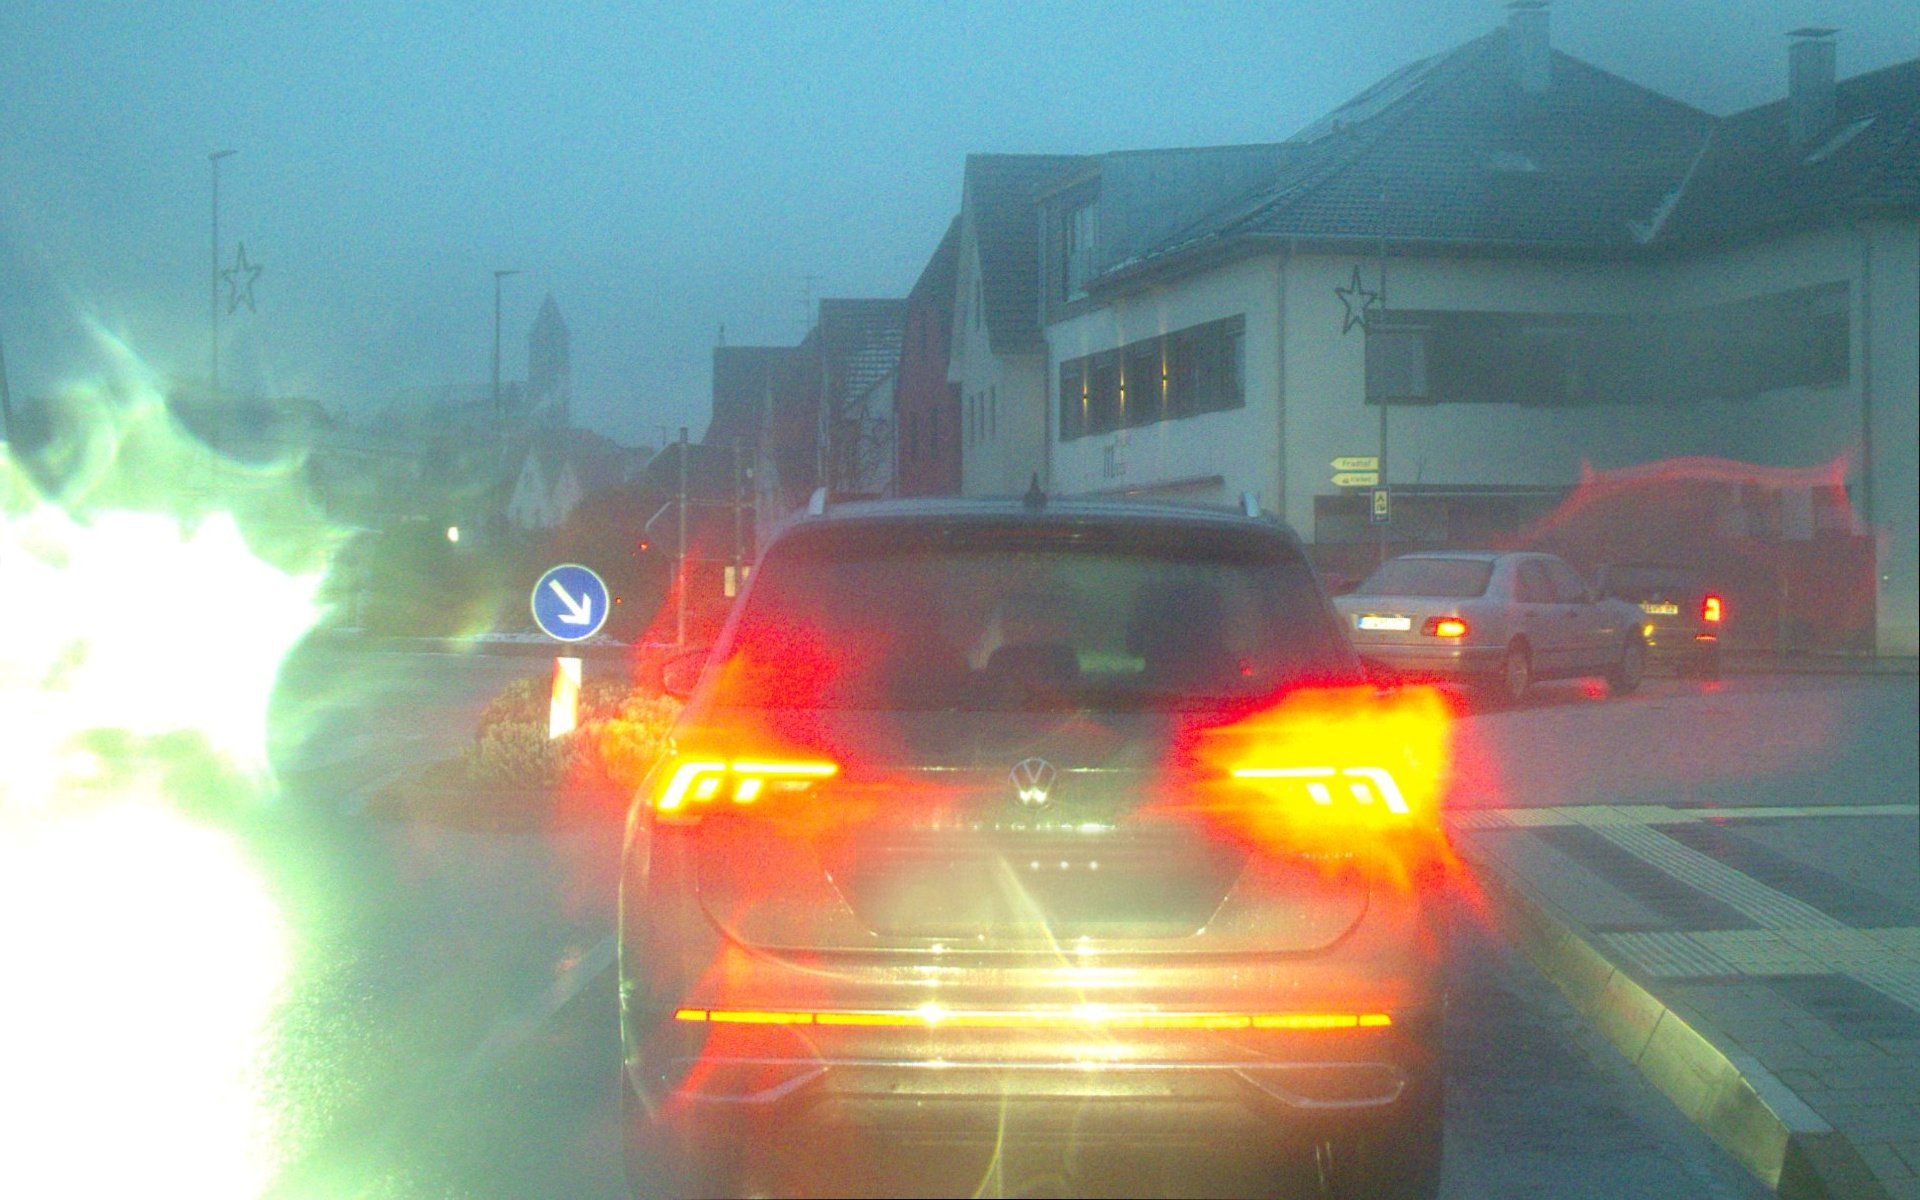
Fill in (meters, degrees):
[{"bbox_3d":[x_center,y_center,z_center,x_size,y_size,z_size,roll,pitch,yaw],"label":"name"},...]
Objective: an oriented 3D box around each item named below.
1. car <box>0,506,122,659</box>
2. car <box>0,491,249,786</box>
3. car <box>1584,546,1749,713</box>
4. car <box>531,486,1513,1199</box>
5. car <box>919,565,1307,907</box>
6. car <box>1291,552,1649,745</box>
[{"bbox_3d":[-12.021,-0.237,42.710,1.719,1.806,4.136,0,1,-35],"label":"car"},{"bbox_3d":[-5.305,0.163,20.889,1.778,1.616,3.959,1,1,-10],"label":"car"},{"bbox_3d":[8.788,0.326,42.987,1.802,1.855,3.999,-2,2,9],"label":"car"},{"bbox_3d":[0.086,0.559,8.744,1.915,1.609,3.950,1,1,-1],"label":"car"},{"bbox_3d":[0.686,0.607,17.757,1.777,1.533,3.932,0,1,0],"label":"car"},{"bbox_3d":[5.008,0.425,33.342,1.825,1.622,3.993,-1,2,34],"label":"car"}]
